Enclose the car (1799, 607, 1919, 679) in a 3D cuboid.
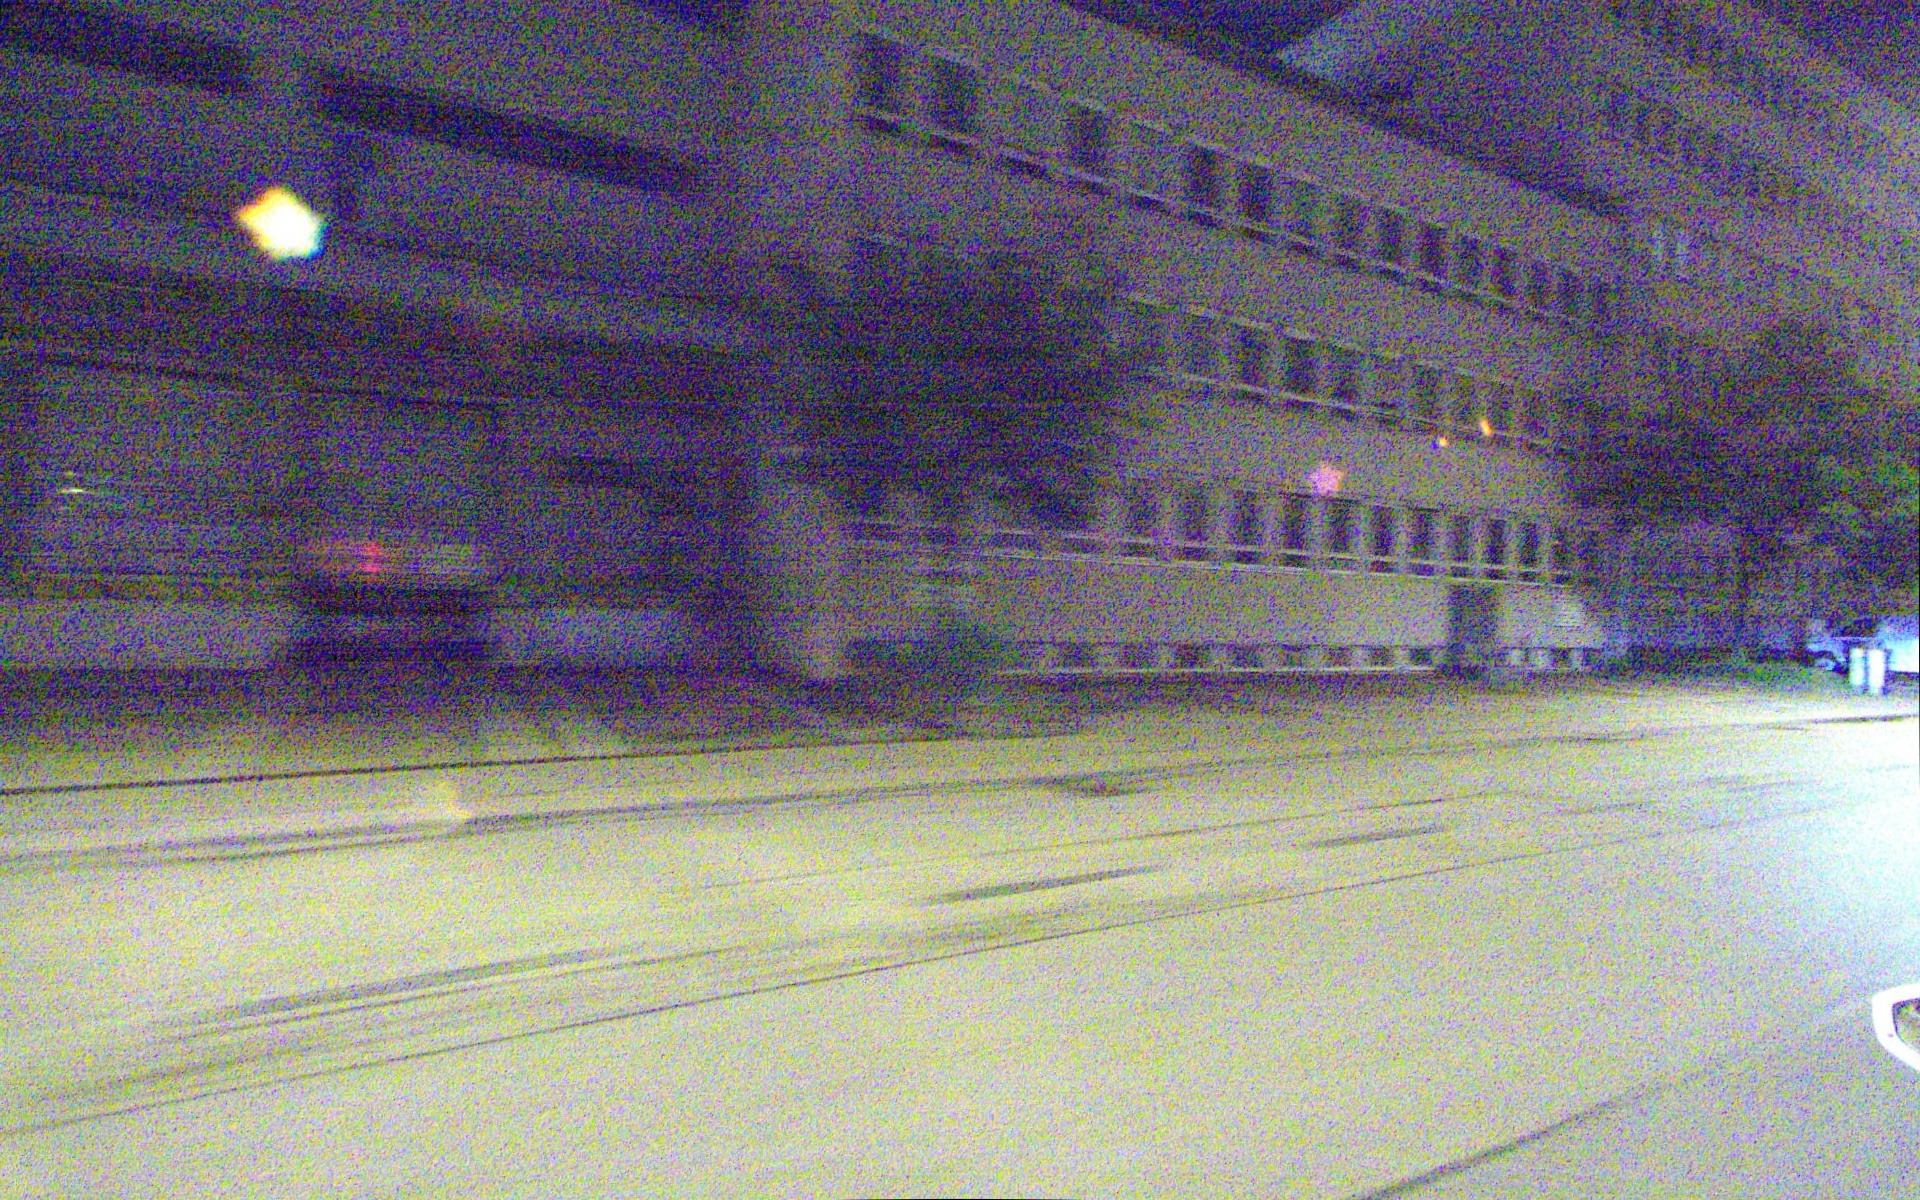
[{"bbox_3d":[28.562,1.326,30.402,1.976,1.998,4.412,2,1,-29],"label":"car"}]
